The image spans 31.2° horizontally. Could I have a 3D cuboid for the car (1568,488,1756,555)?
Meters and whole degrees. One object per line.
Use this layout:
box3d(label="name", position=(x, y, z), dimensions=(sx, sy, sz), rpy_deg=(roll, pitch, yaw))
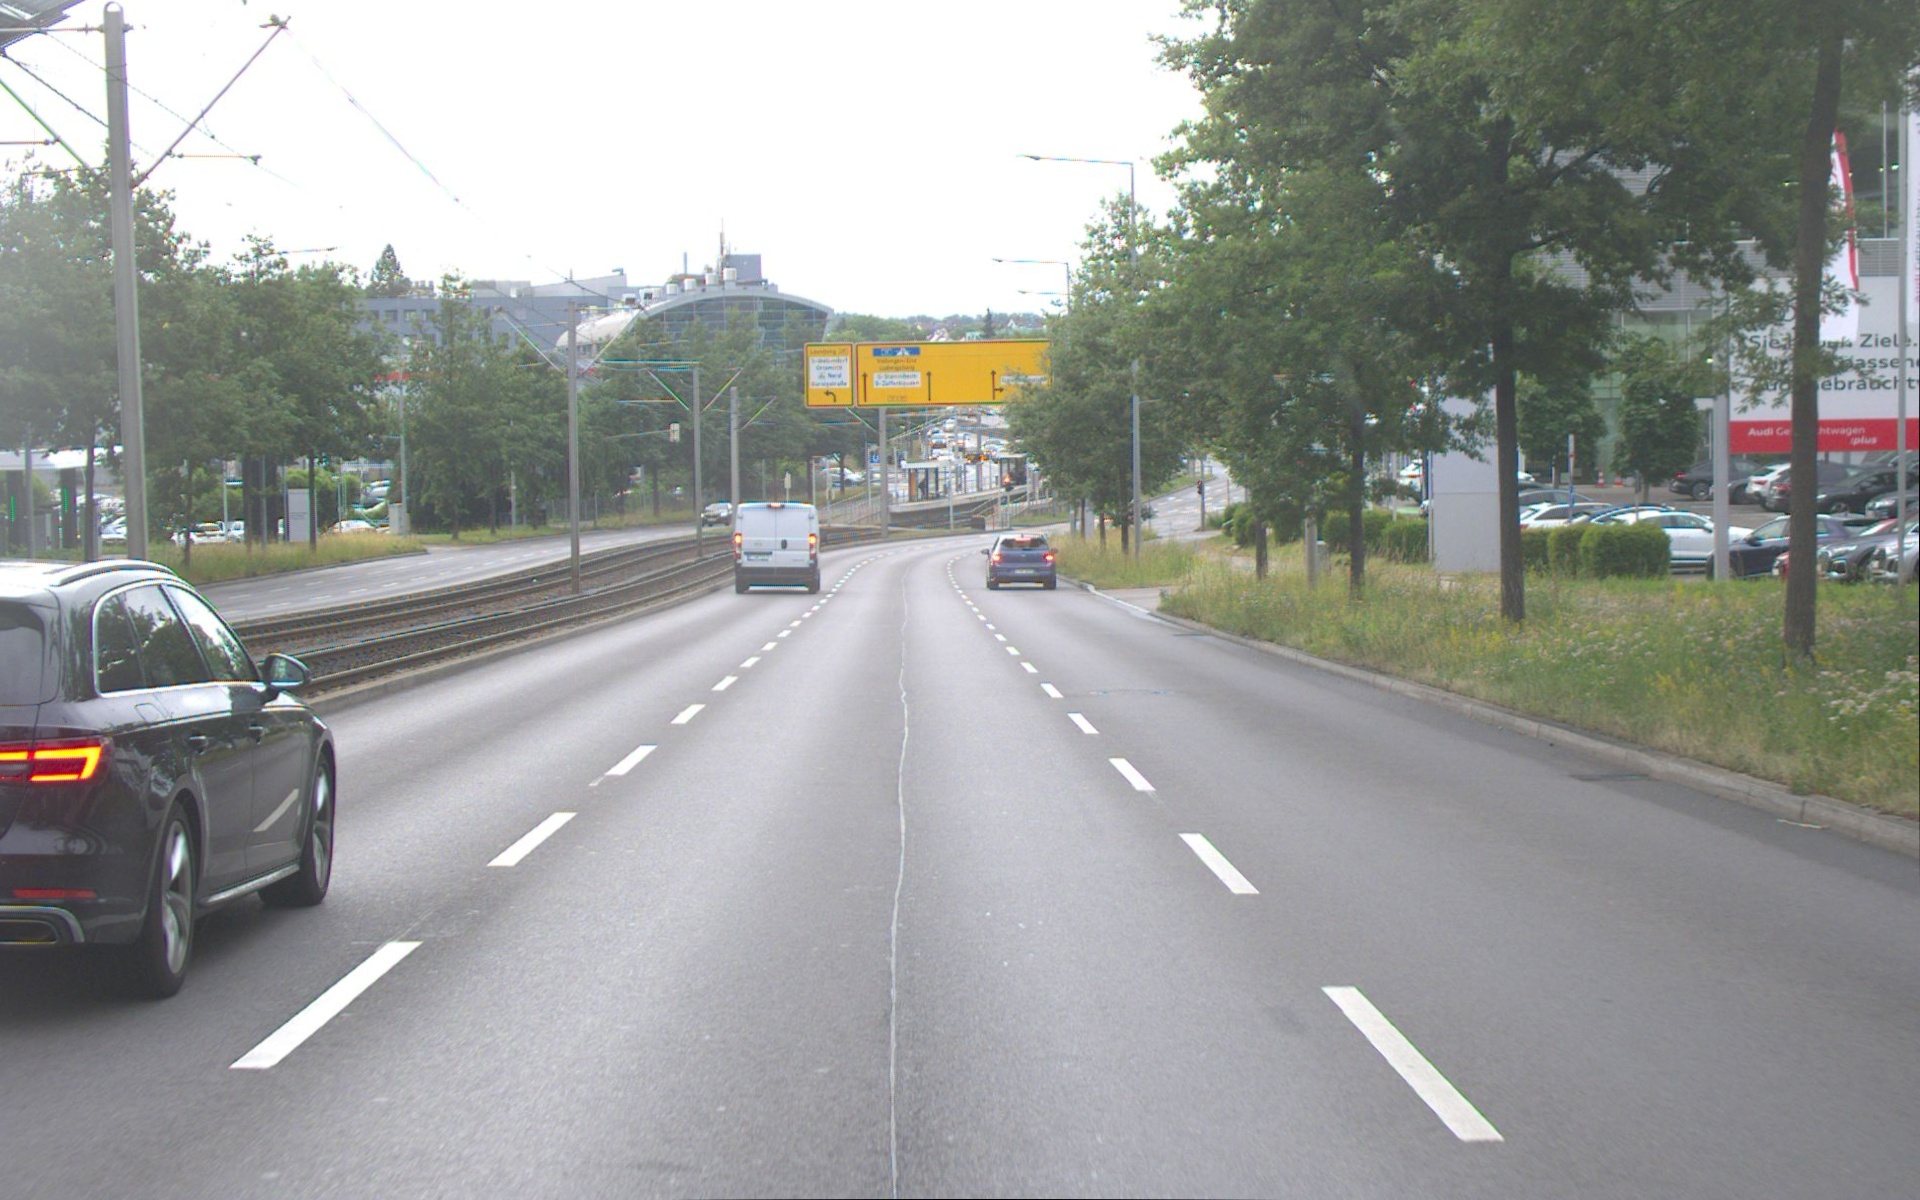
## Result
box3d(label="car", position=(17.224, -1.912, 84.486), dimensions=(4.104, 1.588, 1.949), rpy_deg=(0, 0, -9))

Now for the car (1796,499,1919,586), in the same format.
box3d(label="car", position=(18.134, -1.091, 64.796), dimensions=(4.276, 1.588, 1.827), rpy_deg=(-1, 1, -3))

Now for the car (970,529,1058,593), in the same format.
box3d(label="car", position=(1.404, -1.029, 91.108), dimensions=(2.021, 1.617, 4.001), rpy_deg=(1, 1, -3))

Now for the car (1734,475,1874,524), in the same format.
box3d(label="car", position=(27.514, -3.274, 112.126), dimensions=(4.105, 1.568, 1.693), rpy_deg=(0, 2, -2))

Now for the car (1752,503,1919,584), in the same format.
box3d(label="car", position=(18.153, -1.117, 67.941), dimensions=(4.460, 1.545, 1.931), rpy_deg=(-1, 1, -5))

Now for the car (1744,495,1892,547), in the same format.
box3d(label="car", position=(26.668, -2.473, 106.894), dimensions=(4.105, 1.568, 1.826), rpy_deg=(0, 2, -2))

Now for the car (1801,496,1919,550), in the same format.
box3d(label="car", position=(27.764, -2.352, 104.238), dimensions=(4.105, 1.568, 1.693), rpy_deg=(-1, 2, -2))

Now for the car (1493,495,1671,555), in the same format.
box3d(label="car", position=(17.025, -2.050, 94.235), dimensions=(4.519, 1.588, 1.693), rpy_deg=(0, 1, -2))

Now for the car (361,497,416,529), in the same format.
box3d(label="car", position=(-30.473, -4.630, 183.439), dimensions=(1.994, 1.645, 3.999), rpy_deg=(1, 1, 4))

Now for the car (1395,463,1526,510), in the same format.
box3d(label="car", position=(17.332, -3.938, 119.218), dimensions=(4.259, 1.568, 1.693), rpy_deg=(0, 2, -2))

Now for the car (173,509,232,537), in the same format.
box3d(label="car", position=(-42.992, -4.385, 195.069), dimensions=(1.993, 1.505, 4.000), rpy_deg=(1, 1, -32))

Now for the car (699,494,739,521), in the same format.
box3d(label="car", position=(-14.522, -5.590, 207.534), dimensions=(1.883, 1.515, 4.403), rpy_deg=(-3, 2, 2))

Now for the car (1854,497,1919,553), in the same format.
box3d(label="car", position=(28.176, -2.179, 99.507), dimensions=(4.105, 1.569, 1.693), rpy_deg=(-1, 1, -2))

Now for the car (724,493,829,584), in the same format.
box3d(label="car", position=(-4.617, -1.521, 86.435), dimensions=(2.511, 2.169, 5.150), rpy_deg=(1, 1, -3))

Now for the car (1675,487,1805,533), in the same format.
box3d(label="car", position=(27.145, -3.140, 119.696), dimensions=(4.105, 1.568, 1.693), rpy_deg=(0, 2, -2))

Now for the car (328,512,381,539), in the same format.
box3d(label="car", position=(-34.973, -4.280, 198.452), dimensions=(1.993, 1.505, 4.001), rpy_deg=(1, 1, -26))

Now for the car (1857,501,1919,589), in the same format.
box3d(label="car", position=(18.680, -1.037, 62.004), dimensions=(4.461, 1.545, 1.931), rpy_deg=(-2, 1, -1))

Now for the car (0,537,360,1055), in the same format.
box3d(label="car", position=(-3.422, 0.530, 12.353), dimensions=(1.764, 1.458, 4.627), rpy_deg=(1, 1, -1))

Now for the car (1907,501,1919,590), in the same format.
box3d(label="car", position=(18.775, -0.989, 59.022), dimensions=(4.461, 1.523, 1.931), rpy_deg=(-1, 1, -1))
